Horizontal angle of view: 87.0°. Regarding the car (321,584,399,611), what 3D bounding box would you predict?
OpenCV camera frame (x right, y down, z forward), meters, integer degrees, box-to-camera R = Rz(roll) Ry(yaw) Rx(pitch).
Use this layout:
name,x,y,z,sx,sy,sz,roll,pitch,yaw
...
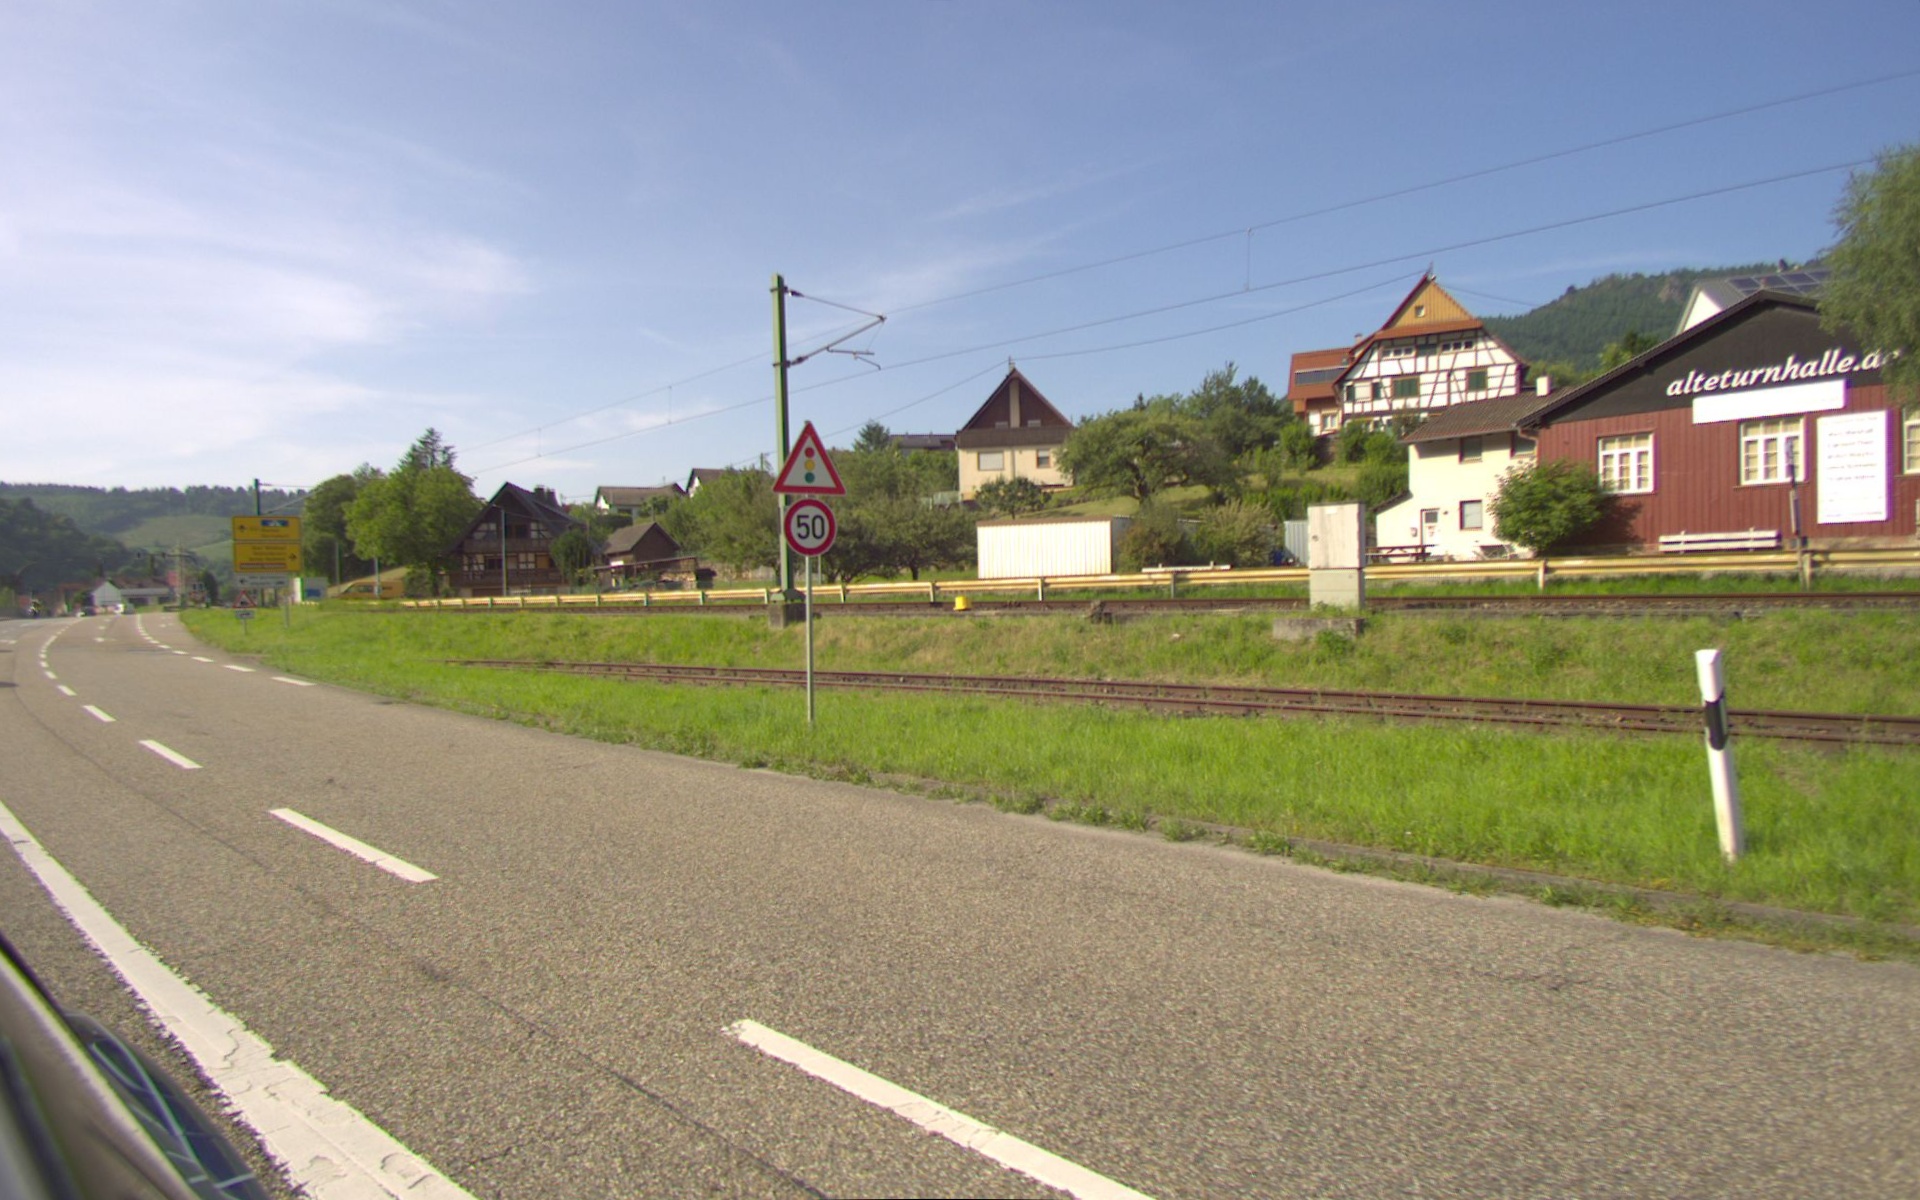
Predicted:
name,x,y,z,sx,sy,sz,roll,pitch,yaw
car,-64.302,-0.296,108.675,6.966,2.475,2.958,-3,1,-29

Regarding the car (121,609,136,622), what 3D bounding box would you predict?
name,x,y,z,sx,sy,sz,roll,pitch,yaw
car,-167.832,3.224,204.357,2.092,2.454,5.239,-4,1,-37

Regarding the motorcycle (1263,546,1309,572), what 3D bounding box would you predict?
name,x,y,z,sx,sy,sz,roll,pitch,yaw
motorcycle,13.966,-1.759,43.329,1.743,1.000,0.655,-1,2,43
